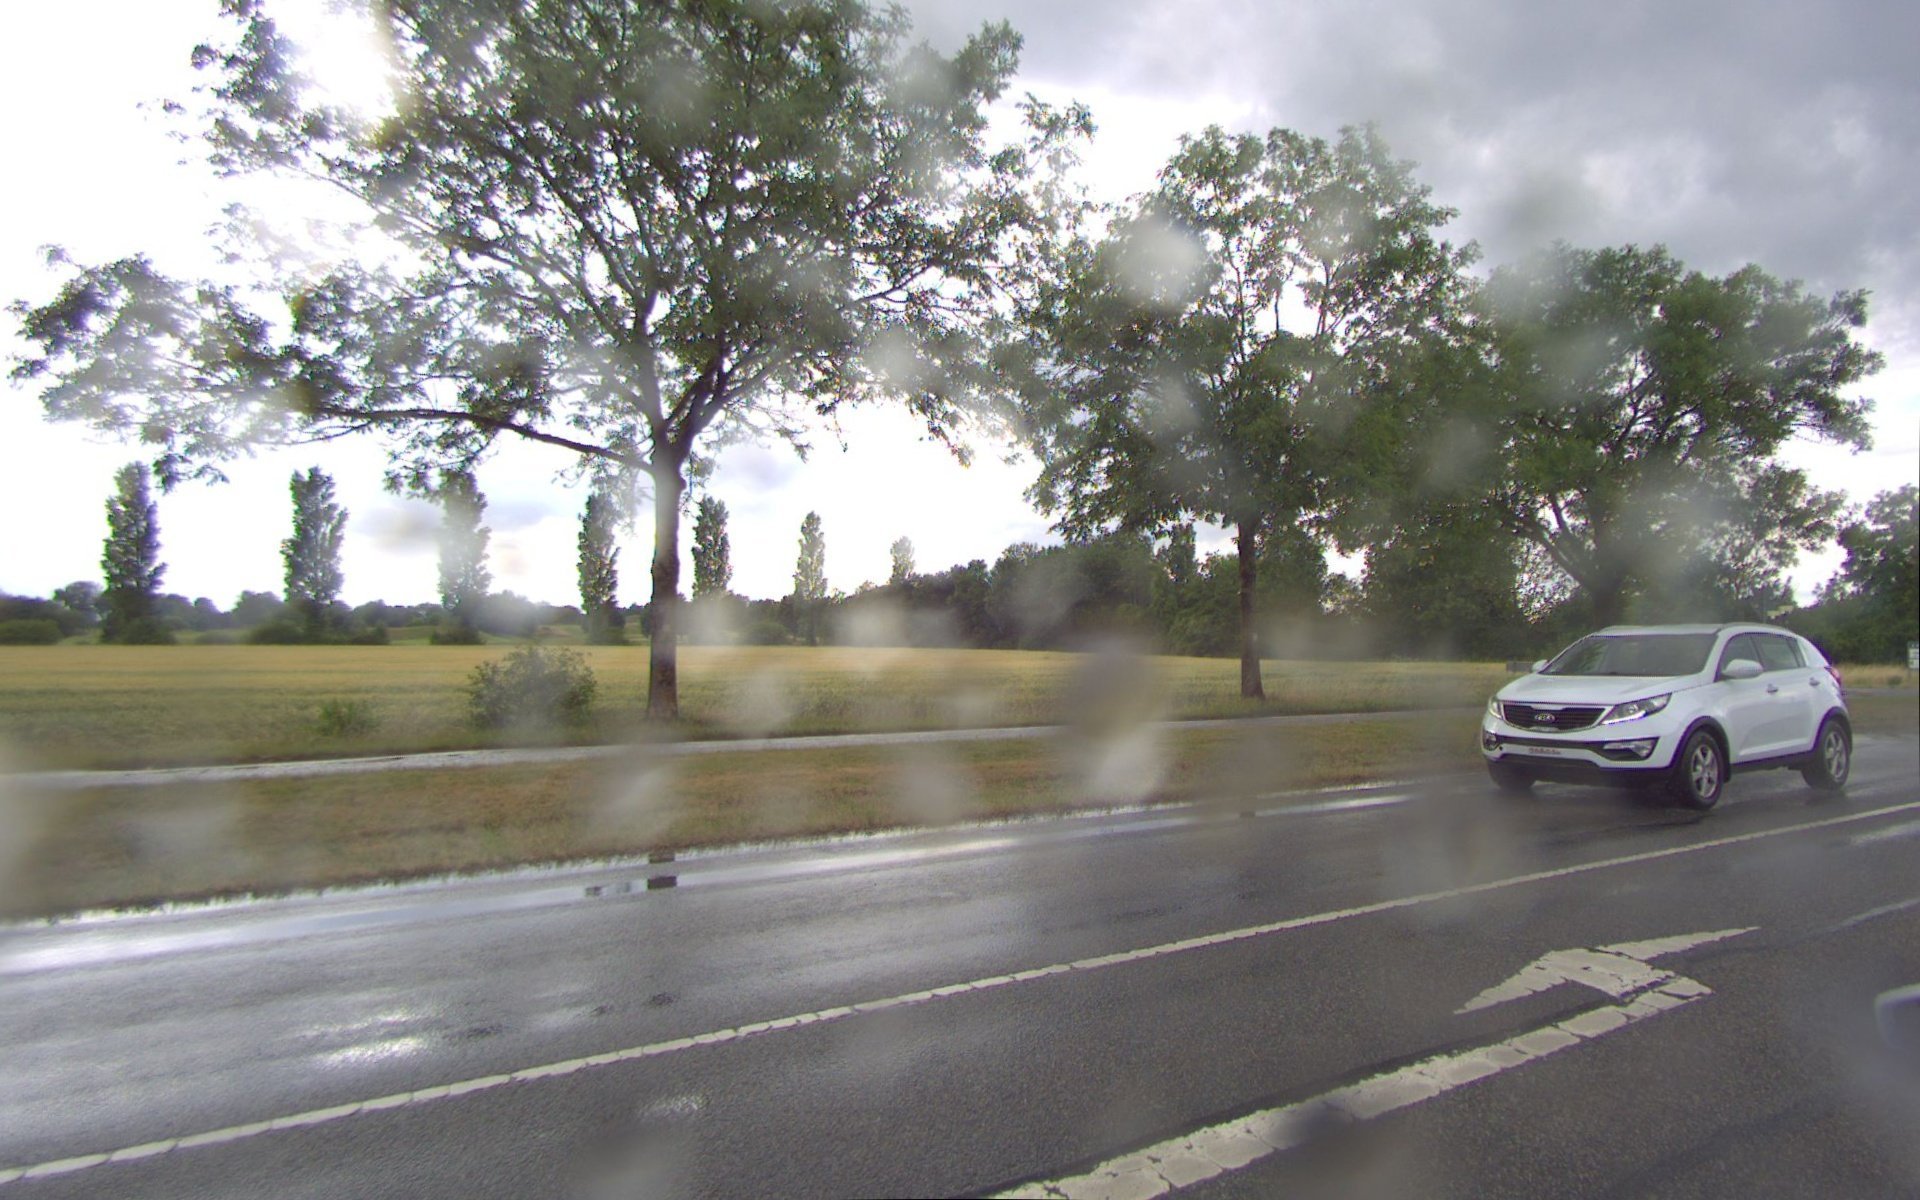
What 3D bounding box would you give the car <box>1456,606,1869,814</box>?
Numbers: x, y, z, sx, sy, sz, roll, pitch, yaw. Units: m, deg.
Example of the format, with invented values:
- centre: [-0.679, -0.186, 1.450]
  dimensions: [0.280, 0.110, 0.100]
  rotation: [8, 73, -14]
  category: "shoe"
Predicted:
- centre: [7.021, 0.989, 9.975]
  dimensions: [4.105, 1.693, 1.697]
  rotation: [1, -4, -29]
  category: "car"
